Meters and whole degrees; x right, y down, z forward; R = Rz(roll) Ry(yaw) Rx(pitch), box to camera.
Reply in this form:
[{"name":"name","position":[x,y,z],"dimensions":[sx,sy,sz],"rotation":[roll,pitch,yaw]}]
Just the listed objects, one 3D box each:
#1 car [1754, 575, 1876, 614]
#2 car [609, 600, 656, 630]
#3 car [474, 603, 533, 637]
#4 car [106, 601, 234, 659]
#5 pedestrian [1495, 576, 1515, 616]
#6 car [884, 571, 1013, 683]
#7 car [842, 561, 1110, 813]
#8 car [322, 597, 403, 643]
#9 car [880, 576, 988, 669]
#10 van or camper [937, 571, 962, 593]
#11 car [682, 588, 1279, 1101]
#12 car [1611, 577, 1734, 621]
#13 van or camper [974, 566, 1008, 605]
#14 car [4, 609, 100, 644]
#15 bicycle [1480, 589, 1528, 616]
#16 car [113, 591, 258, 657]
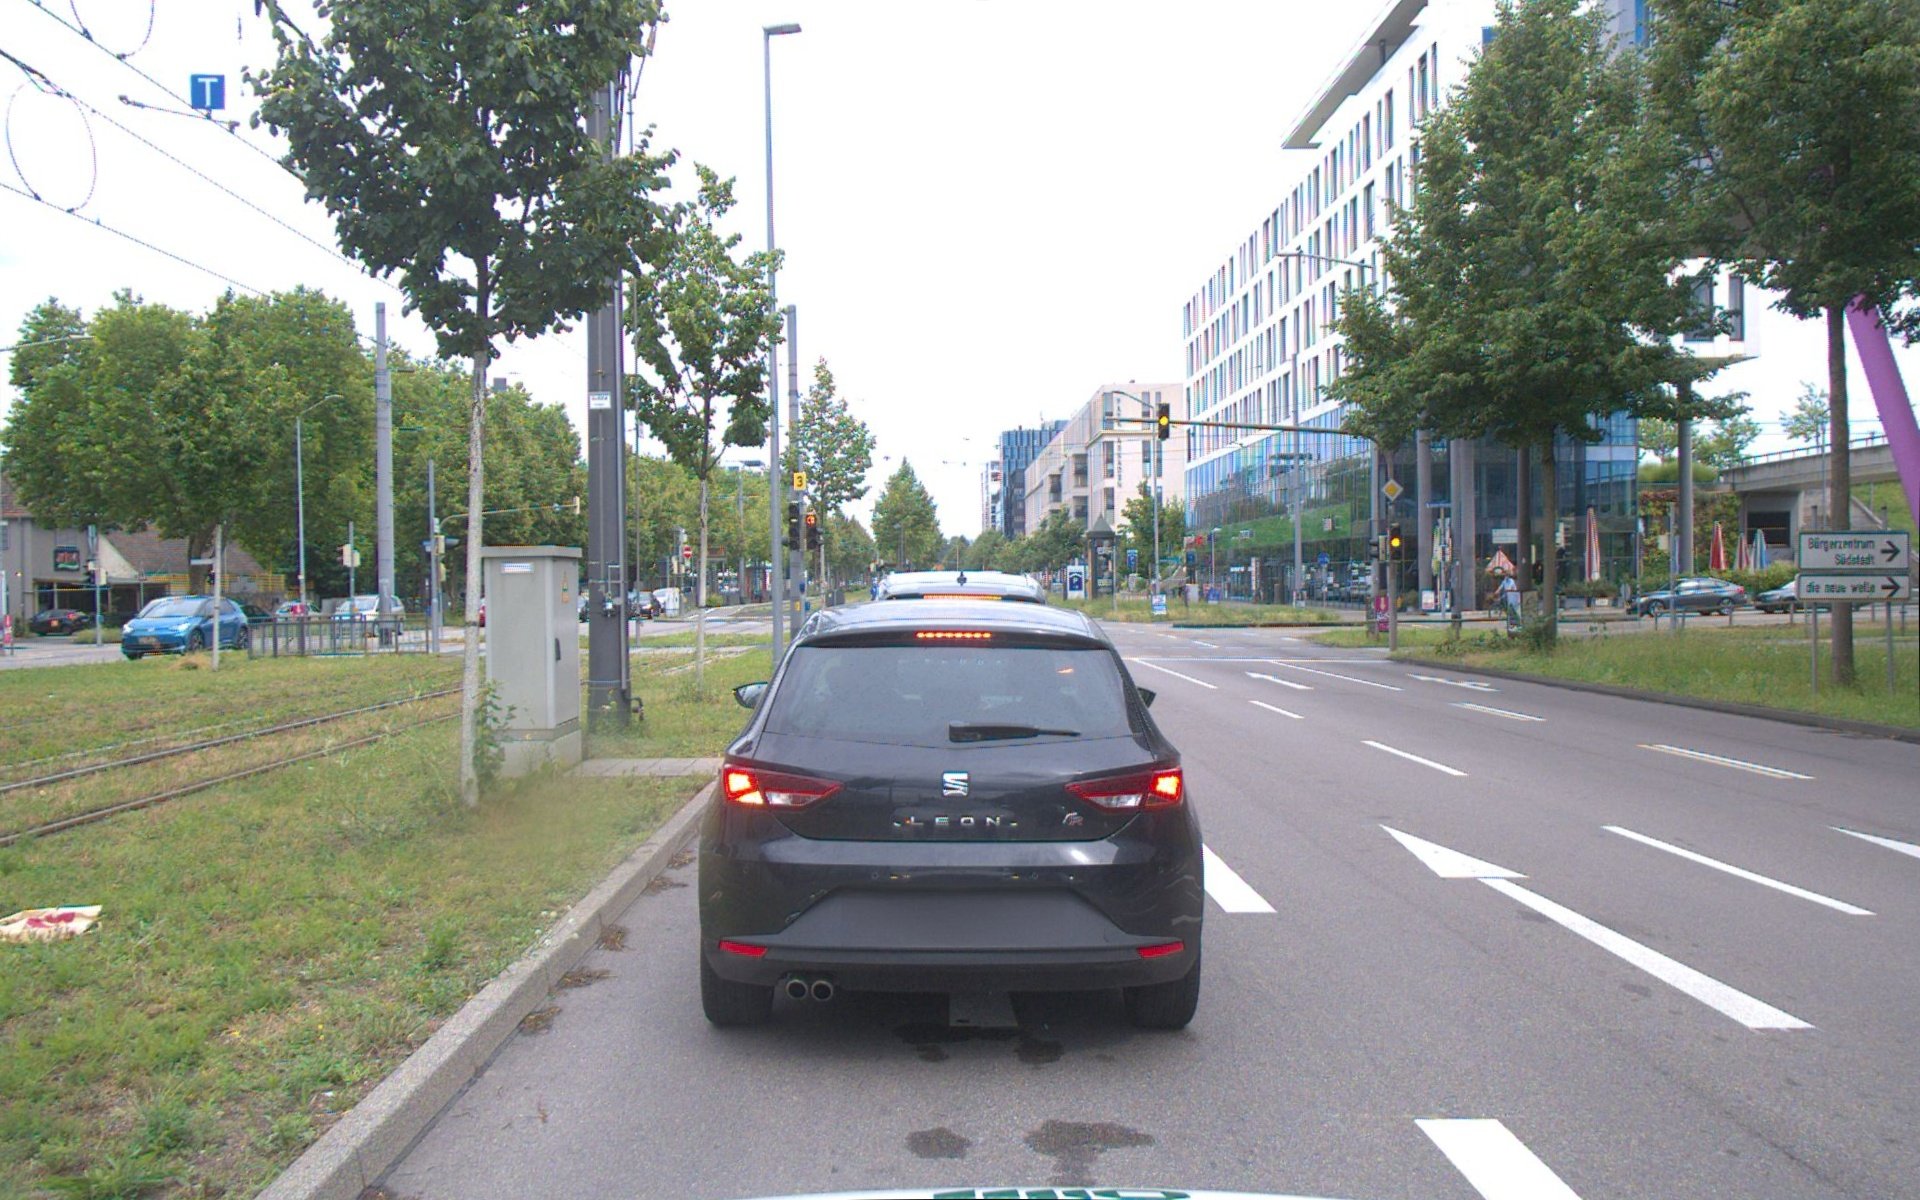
[{"name":"car","position":[34.411,-0.217,66.618],"dimensions":[3.996,1.480,1.758],"rotation":[-1,1,1]},{"name":"car","position":[-17.570,0.789,88.839],"dimensions":[1.630,1.451,4.745],"rotation":[-2,1,-1]},{"name":"car","position":[-23.330,0.976,84.615],"dimensions":[1.759,1.598,4.328],"rotation":[-1,1,0]},{"name":"car","position":[-23.443,0.857,49.260],"dimensions":[1.760,1.598,4.576],"rotation":[2,0,-3]},{"name":"pedestrian","position":[22.392,-0.171,67.953],"dimensions":[0.602,1.632,0.619],"rotation":[-1,0,1]},{"name":"car","position":[-0.116,0.382,27.517],"dimensions":[1.952,1.711,4.001],"rotation":[1,1,2]},{"name":"car","position":[0.076,0.555,13.027],"dimensions":[1.766,1.652,3.999],"rotation":[-1,1,-1]},{"name":"car","position":[-23.432,0.743,65.007],"dimensions":[1.686,1.672,4.672],"rotation":[-1,1,-3]},{"name":"car","position":[-0.453,0.391,32.743],"dimensions":[1.952,1.711,4.001],"rotation":[1,1,1]},{"name":"van or camper","position":[-0.830,-1.413,130.010],"dimensions":[1.953,1.643,4.789],"rotation":[0,2,0]},{"name":"car","position":[0.008,0.695,6.763],"dimensions":[1.708,1.442,3.999],"rotation":[1,1,-2]},{"name":"car","position":[28.504,-0.046,66.210],"dimensions":[4.163,1.643,1.758],"rotation":[-1,1,1]},{"name":"van or camper","position":[1.992,-0.969,107.213],"dimensions":[2.066,2.397,4.924],"rotation":[0,2,0]},{"name":"car","position":[-50.475,1.444,91.983],"dimensions":[4.190,1.847,2.108],"rotation":[-1,1,3]},{"name":"bicycle","position":[22.355,0.100,67.955],"dimensions":[1.755,1.104,0.618],"rotation":[-1,0,1]},{"name":"car","position":[-20.493,0.596,44.002],"dimensions":[1.925,1.616,4.685],"rotation":[0,1,-4]}]
